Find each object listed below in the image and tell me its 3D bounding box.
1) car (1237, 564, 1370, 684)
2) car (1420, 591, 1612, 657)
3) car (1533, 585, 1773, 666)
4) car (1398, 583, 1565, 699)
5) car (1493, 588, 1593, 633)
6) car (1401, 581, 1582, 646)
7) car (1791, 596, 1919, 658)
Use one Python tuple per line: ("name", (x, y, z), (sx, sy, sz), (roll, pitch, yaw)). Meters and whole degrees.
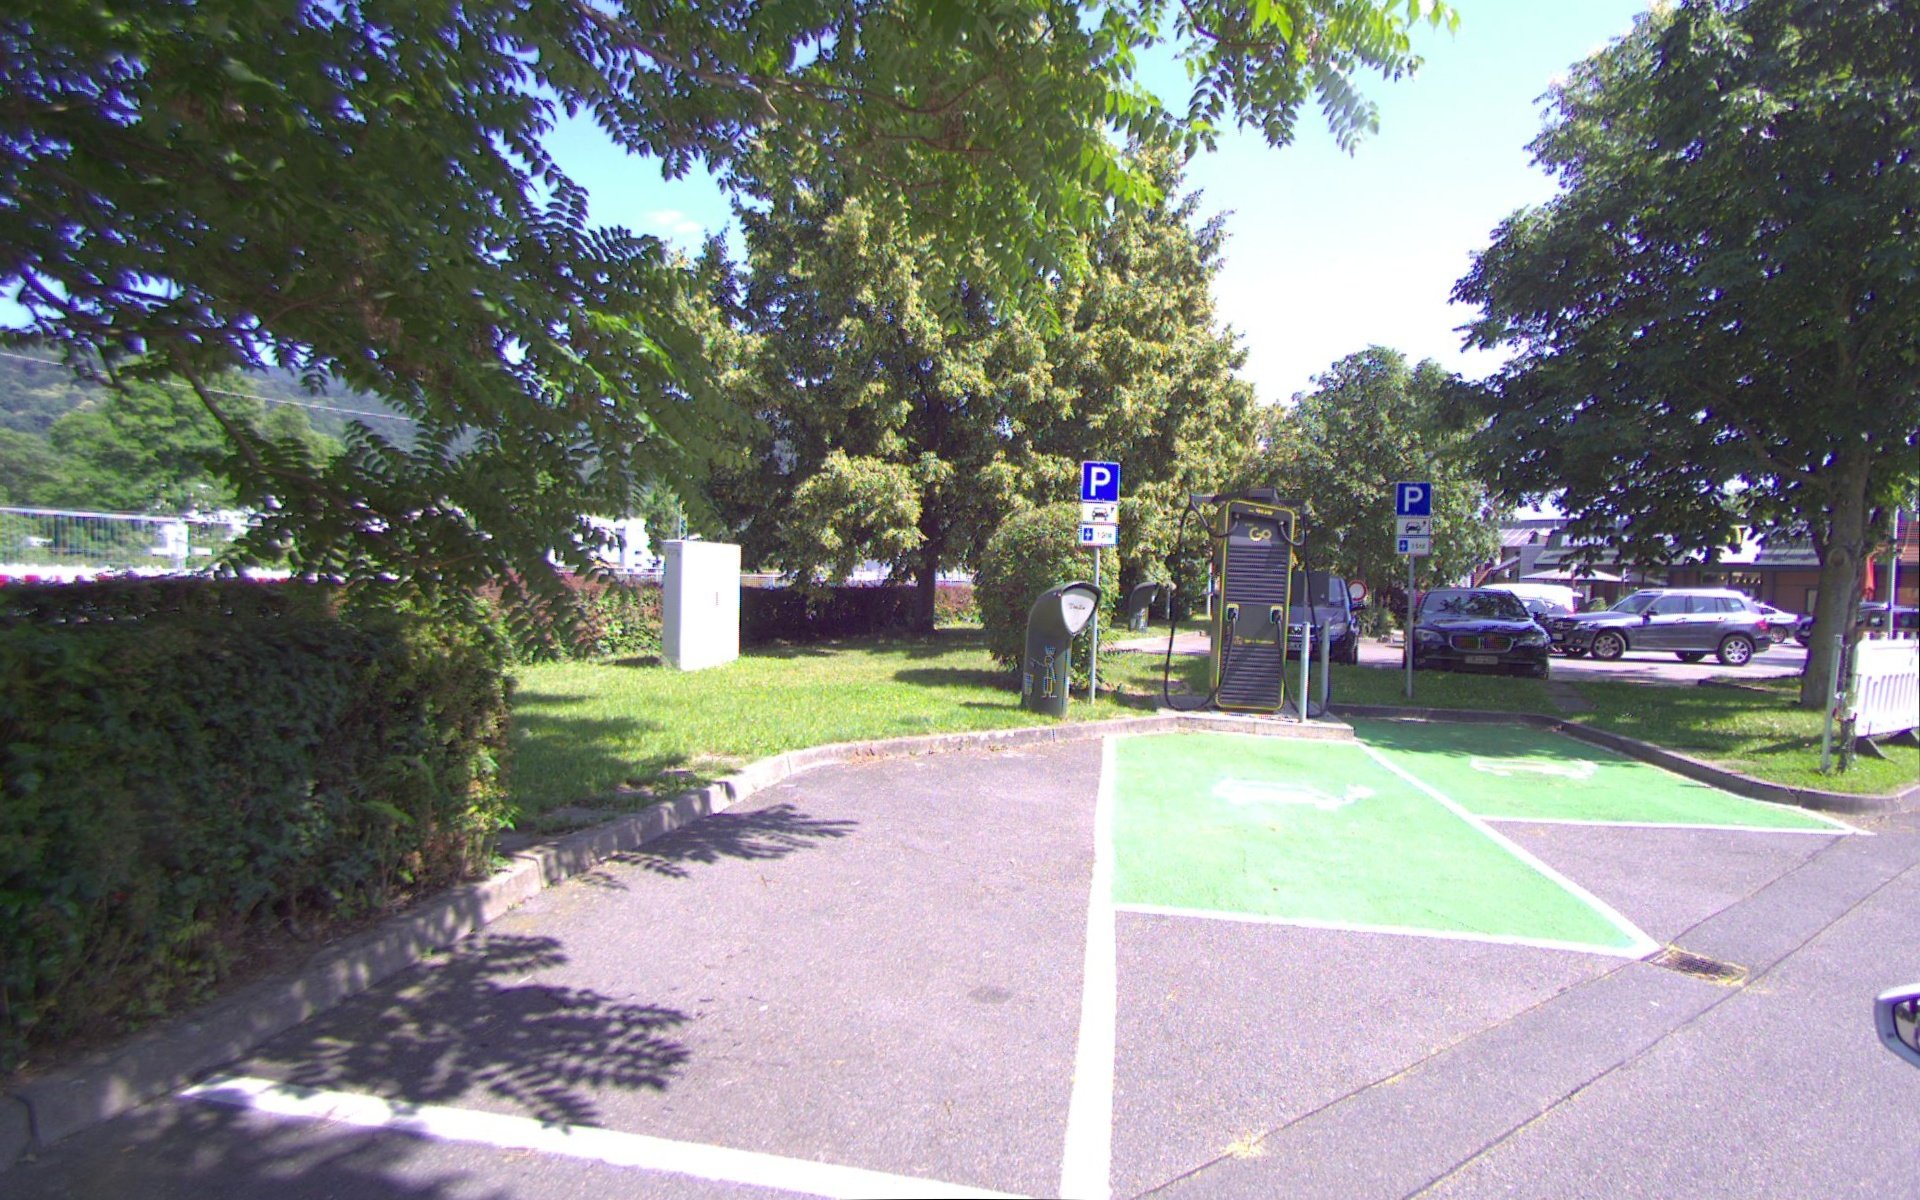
("car", (6.053, 0.328, 17.465), (1.826, 1.708, 4.365), (4, 2, 21))
("car", (14.527, 0.587, 26.428), (3.957, 1.511, 1.863), (2, 1, 7))
("car", (16.387, 0.559, 23.963), (4.279, 1.708, 1.863), (2, 2, 7))
("car", (8.148, 0.538, 16.081), (1.826, 1.472, 4.365), (4, 2, 21))
("car", (22.344, 0.345, 38.683), (1.882, 1.573, 4.144), (2, 1, 8))
("car", (15.459, 0.355, 29.423), (4.225, 1.708, 1.863), (2, 2, 8))
("car", (28.040, 0.779, 30.954), (1.824, 1.708, 4.369), (0, 1, 10))
